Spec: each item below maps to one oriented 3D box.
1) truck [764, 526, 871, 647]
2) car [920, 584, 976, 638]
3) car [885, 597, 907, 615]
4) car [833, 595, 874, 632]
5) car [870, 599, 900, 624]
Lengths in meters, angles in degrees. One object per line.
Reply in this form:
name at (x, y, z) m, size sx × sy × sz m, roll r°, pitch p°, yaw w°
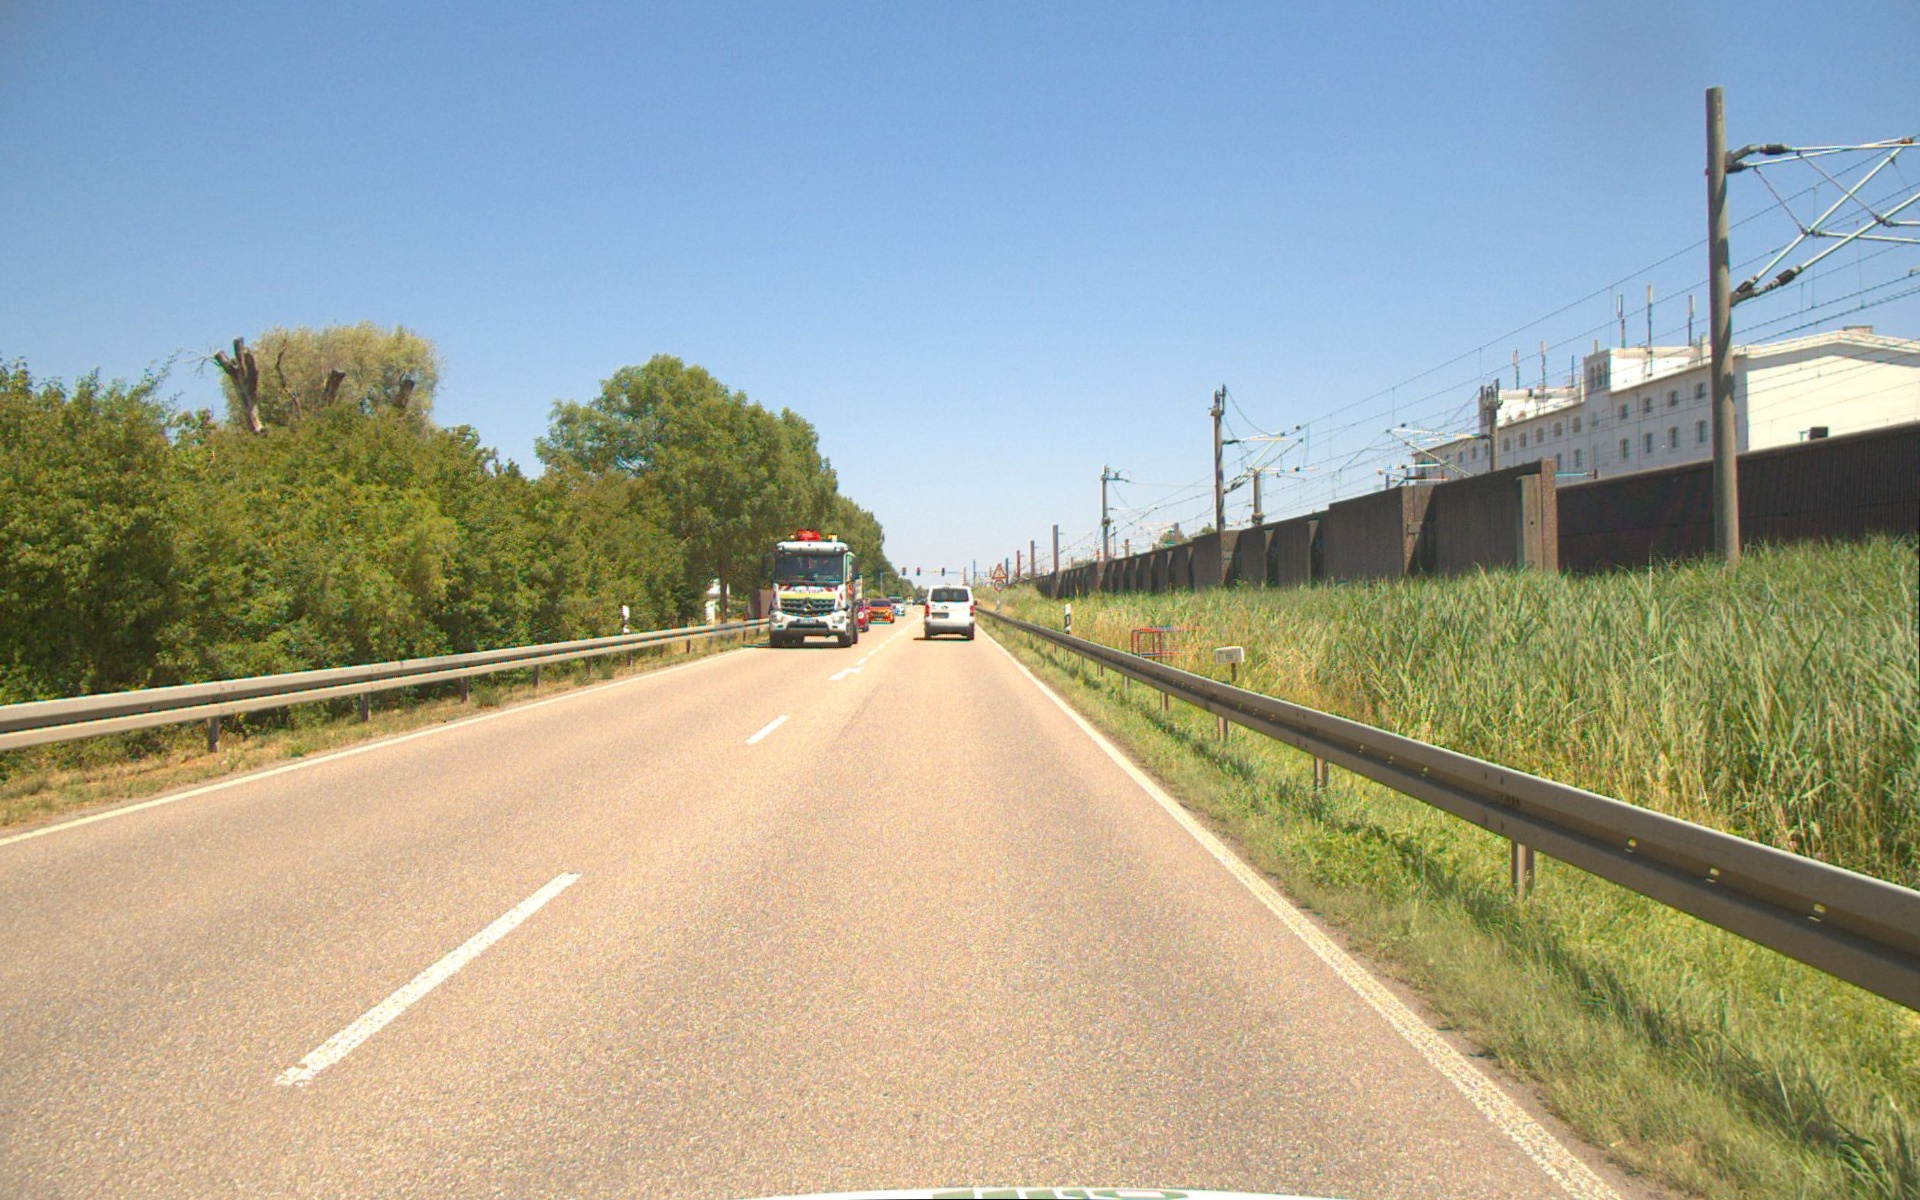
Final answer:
truck at (-4.375, -0.410, 52.306) m, size 2.727 × 3.464 × 7.987 m, roll 1°, pitch 0°, yaw -1°
car at (-0.435, 0.391, 60.596) m, size 1.953 × 1.882 × 4.000 m, roll 1°, pitch 0°, yaw -1°
car at (-5.490, 0.503, 142.400) m, size 1.753 × 1.552 × 4.390 m, roll 0°, pitch 0°, yaw 0°
car at (-4.734, 0.587, 73.905) m, size 1.619 × 1.579 × 3.999 m, roll 0°, pitch 0°, yaw -1°
car at (-4.560, 0.694, 100.709) m, size 1.753 × 1.446 × 3.999 m, roll 0°, pitch 0°, yaw -1°
